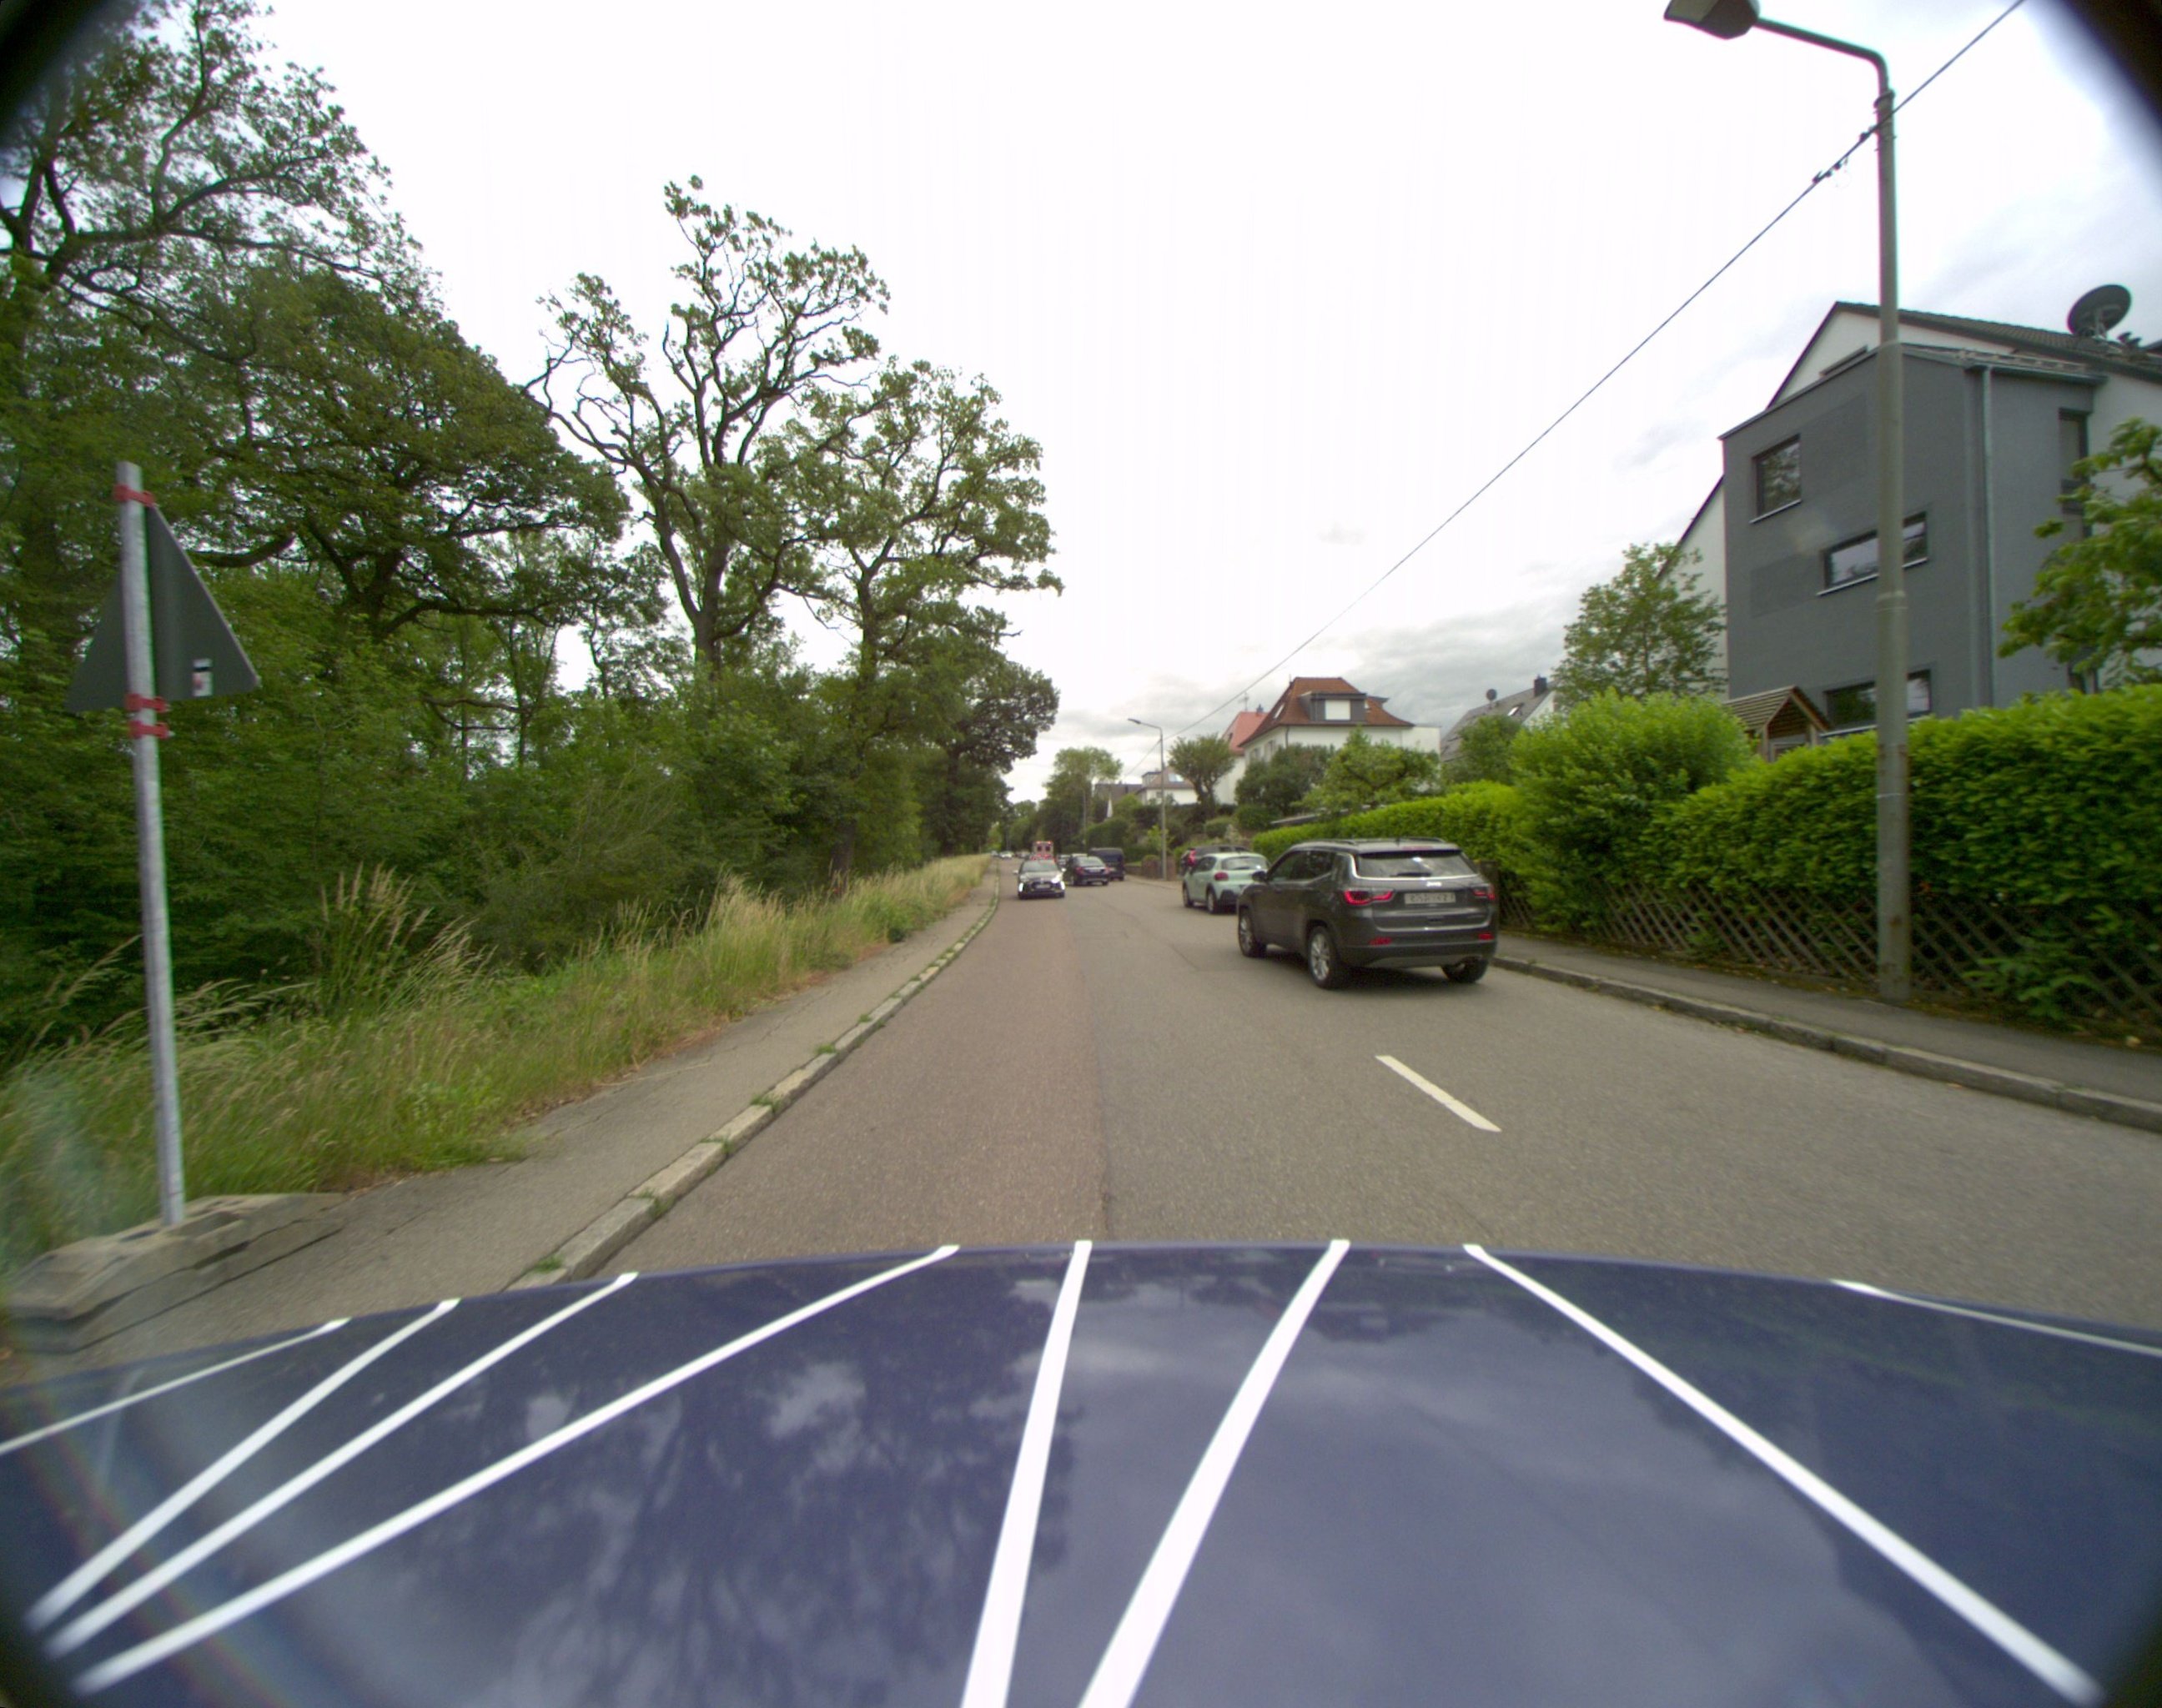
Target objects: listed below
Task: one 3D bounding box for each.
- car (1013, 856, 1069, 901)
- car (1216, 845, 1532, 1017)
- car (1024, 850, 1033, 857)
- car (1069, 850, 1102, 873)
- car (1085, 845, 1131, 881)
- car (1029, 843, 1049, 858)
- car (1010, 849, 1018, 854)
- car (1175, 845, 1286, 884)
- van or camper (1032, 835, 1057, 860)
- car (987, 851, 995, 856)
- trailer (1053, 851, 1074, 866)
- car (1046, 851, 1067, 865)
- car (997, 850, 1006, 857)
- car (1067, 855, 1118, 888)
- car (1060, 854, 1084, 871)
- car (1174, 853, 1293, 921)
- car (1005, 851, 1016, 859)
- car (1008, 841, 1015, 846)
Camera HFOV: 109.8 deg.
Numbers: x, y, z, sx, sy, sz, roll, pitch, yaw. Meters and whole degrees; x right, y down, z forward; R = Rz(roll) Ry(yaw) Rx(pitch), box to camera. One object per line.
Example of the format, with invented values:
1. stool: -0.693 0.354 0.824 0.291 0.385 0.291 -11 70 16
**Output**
1. car: -1.616 0.878 29.307 1.789 1.491 4.012 -2 1 -7
2. car: 3.248 0.754 9.507 1.839 1.587 4.321 -2 0 -7
3. car: -11.886 -0.197 171.222 1.789 1.491 4.011 -2 1 -7
4. car: 0.292 0.520 57.016 1.844 1.639 4.182 1 0 -7
5. car: 1.514 0.500 44.500 1.869 1.915 5.034 -2 1 -7
6. car: -4.195 -0.329 75.020 1.769 1.438 4.470 0 0 -6
7. car: -18.535 -0.717 210.666 1.766 1.441 4.039 -2 1 -13
8. car: 6.899 0.467 35.268 4.631 1.687 1.998 -1 1 -10
9. van or camper: -4.418 -0.825 91.571 2.464 2.878 7.162 0 1 -7
10. car: -30.392 -0.276 256.484 2.001 1.678 4.703 -2 1 -16
11. trailer: -1.747 0.407 75.664 1.769 1.487 4.471 0 0 -5
12. car: -2.713 0.446 83.128 1.769 1.438 4.469 0 0 -9
13. car: -18.991 -0.174 181.810 2.000 1.678 4.707 -2 1 -6
14. car: 0.478 0.813 37.200 1.869 1.406 4.589 -2 1 -7
15. car: -0.867 0.775 69.743 1.769 1.490 4.470 1 0 -6
16. car: 3.794 0.759 19.631 1.789 1.491 4.012 -2 1 -7
17. car: -14.850 0.162 159.811 2.000 1.678 4.706 -2 1 -10
18. car: -22.766 -3.459 248.502 1.766 1.441 4.039 -2 1 -13
